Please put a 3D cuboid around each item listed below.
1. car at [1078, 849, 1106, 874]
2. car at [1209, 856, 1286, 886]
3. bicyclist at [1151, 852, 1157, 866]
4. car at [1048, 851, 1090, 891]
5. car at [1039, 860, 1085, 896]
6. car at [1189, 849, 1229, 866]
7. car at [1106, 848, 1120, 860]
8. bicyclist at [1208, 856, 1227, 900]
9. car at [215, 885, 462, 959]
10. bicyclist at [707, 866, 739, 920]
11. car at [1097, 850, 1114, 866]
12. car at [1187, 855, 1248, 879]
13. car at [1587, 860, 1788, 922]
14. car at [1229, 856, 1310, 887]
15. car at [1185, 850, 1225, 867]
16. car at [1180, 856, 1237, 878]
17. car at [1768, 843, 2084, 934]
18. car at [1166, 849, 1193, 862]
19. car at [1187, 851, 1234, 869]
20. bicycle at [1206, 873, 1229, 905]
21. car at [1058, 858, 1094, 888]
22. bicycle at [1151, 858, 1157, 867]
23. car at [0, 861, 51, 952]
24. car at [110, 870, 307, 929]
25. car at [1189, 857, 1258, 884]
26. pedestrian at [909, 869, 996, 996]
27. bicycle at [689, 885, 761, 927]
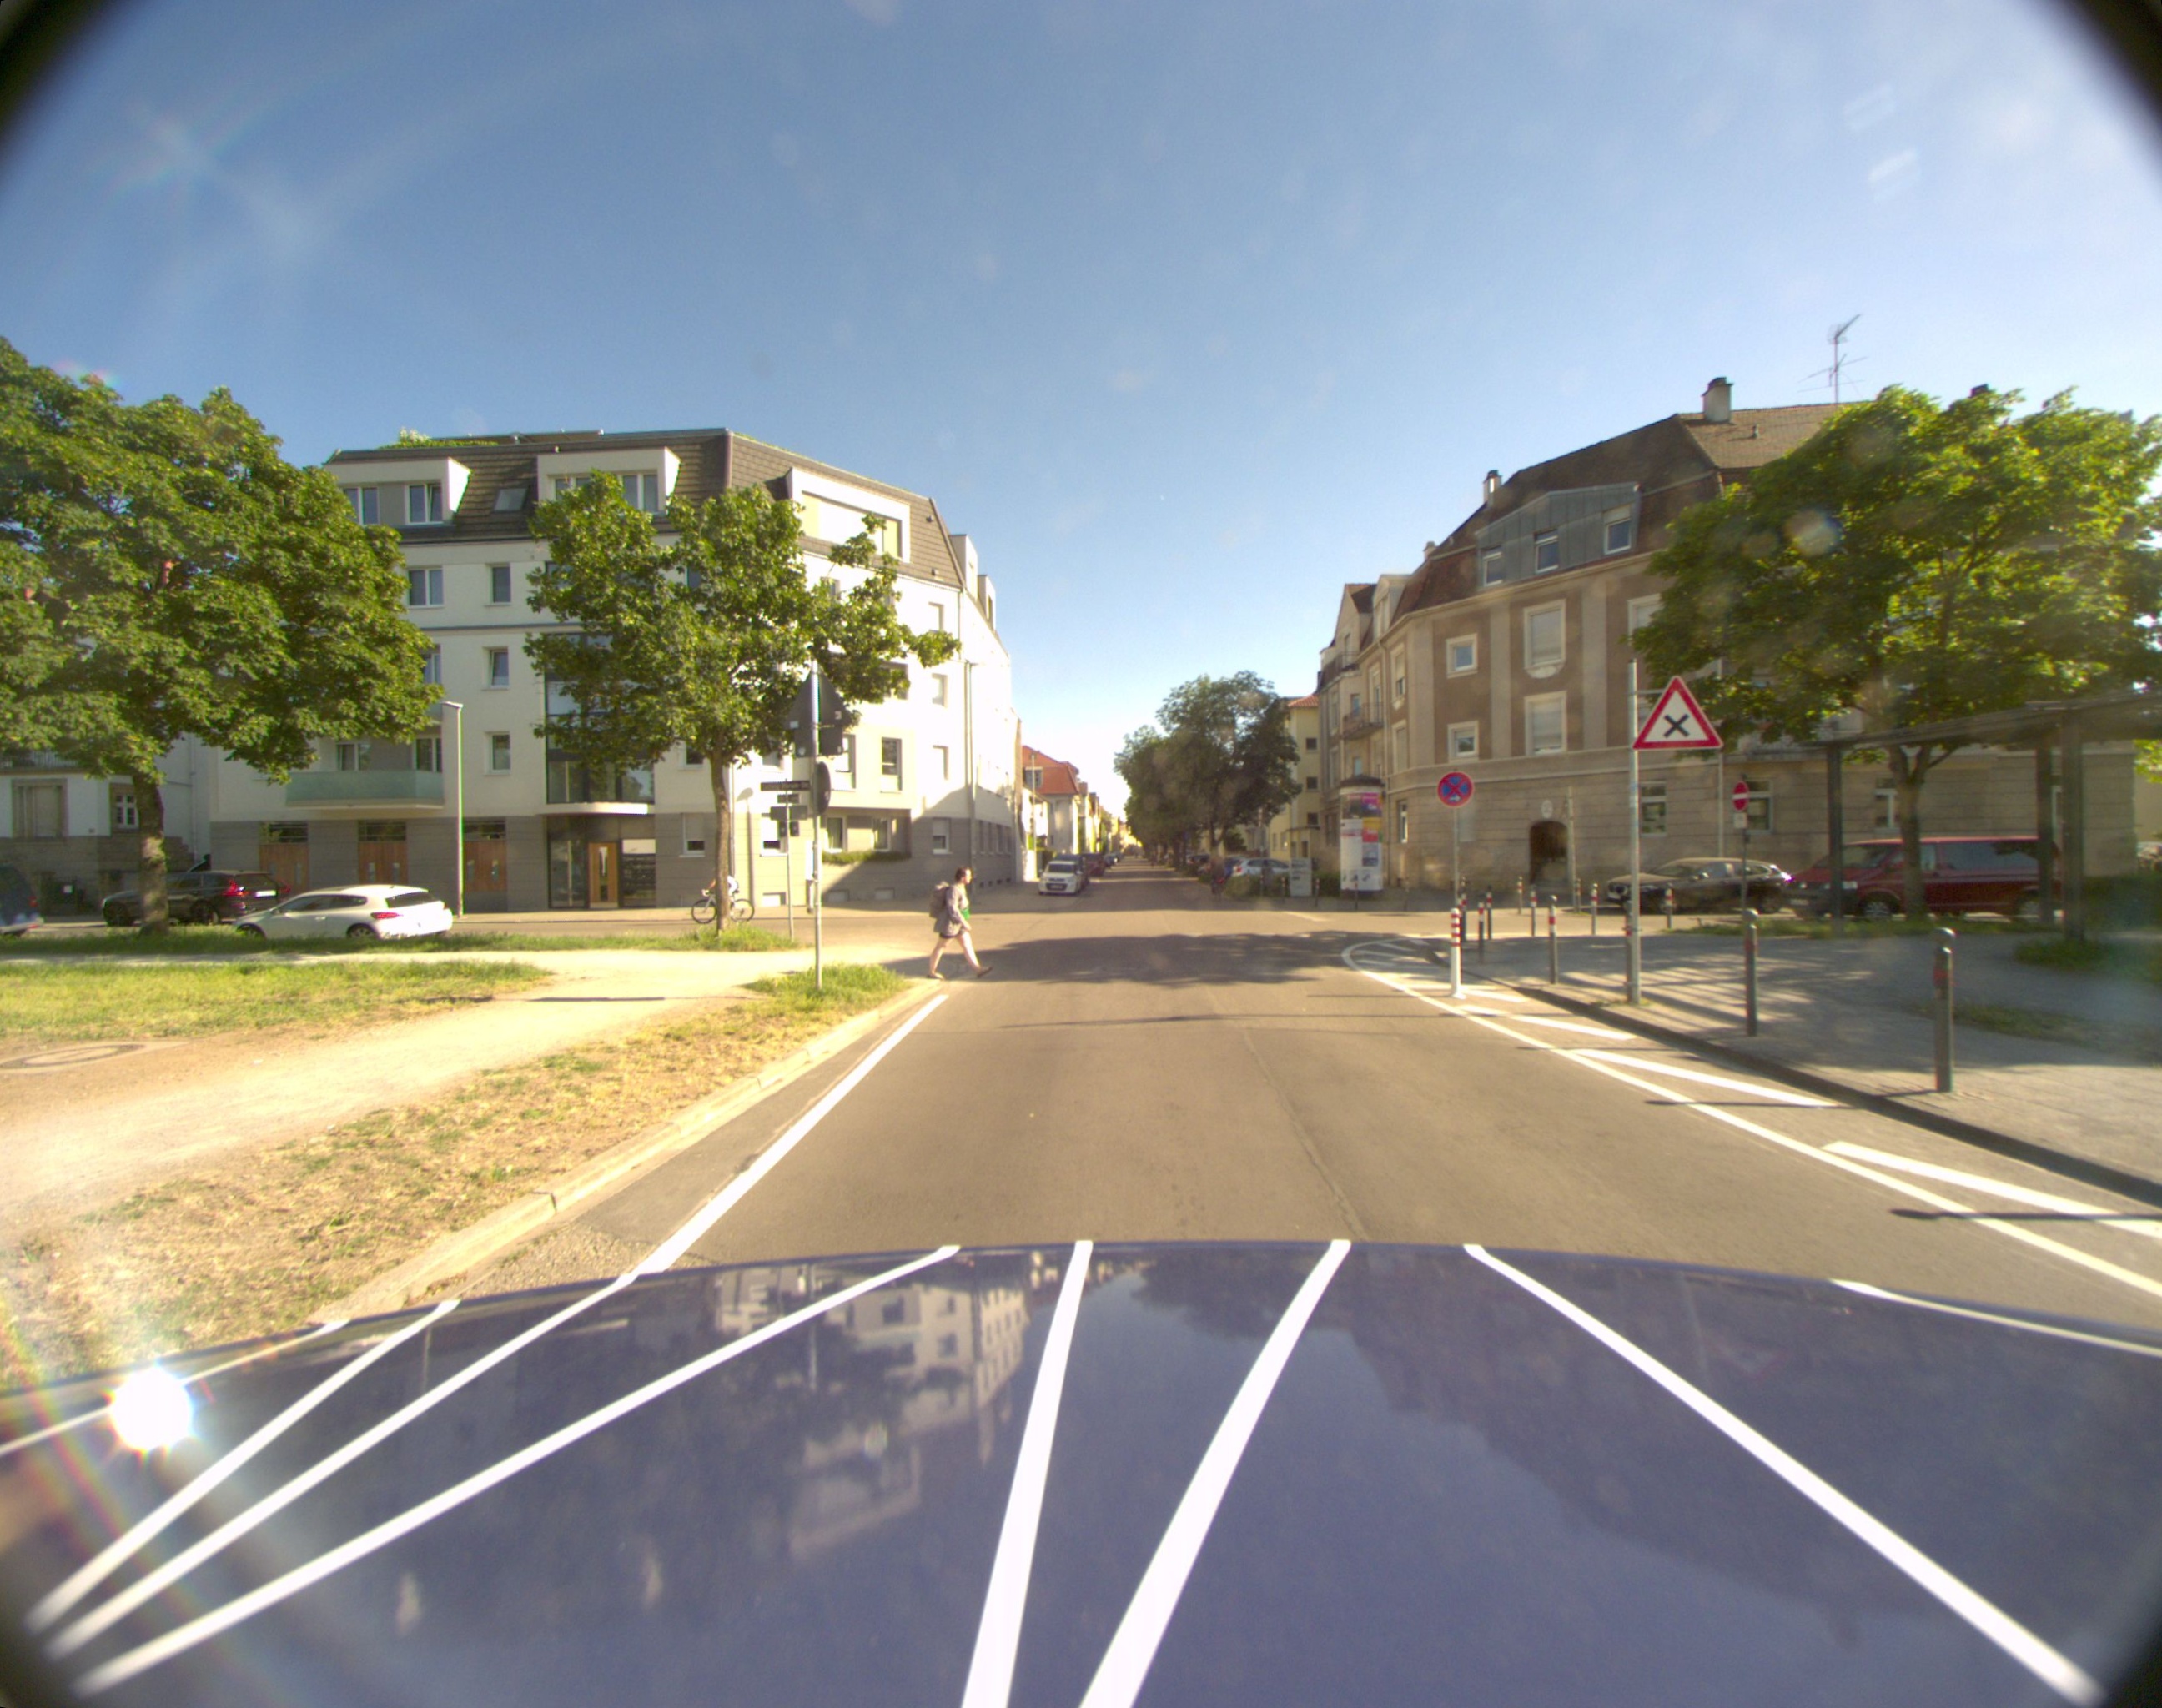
[{"bbox_3d":[0.919,0.584,60.049,1.883,1.860,4.403,2,0,4],"label":"car"},{"bbox_3d":[9.020,0.912,41.415,3.788,1.486,1.692,-2,0,1],"label":"car"},{"bbox_3d":[8.329,0.557,86.714,0.644,1.557,1.043,-1,1,5],"label":"bicyclist"},{"bbox_3d":[-0.545,0.796,38.298,1.664,1.825,4.258,2,0,4],"label":"car"},{"bbox_3d":[-0.787,1.020,33.840,1.664,1.440,3.689,2,0,4],"label":"car"},{"bbox_3d":[12.529,0.357,74.550,3.528,1.486,1.692,-2,0,-1],"label":"car"},{"bbox_3d":[4.895,0.058,115.958,1.883,1.734,4.403,-1,0,4],"label":"car"},{"bbox_3d":[5.079,0.872,28.334,0.644,1.610,0.637,-1,1,5],"label":"bicyclist"},{"bbox_3d":[-16.906,1.528,17.431,3.990,1.426,1.739,-1,4,4],"label":"car"},{"bbox_3d":[-9.920,1.060,21.064,0.687,1.455,0.497,-1,1,-10],"label":"bicyclist"},{"bbox_3d":[2.916,0.437,89.517,1.883,1.860,4.403,-1,0,4],"label":"car"},{"bbox_3d":[9.494,0.904,52.834,3.791,1.486,1.691,-2,0,-9],"label":"car"},{"bbox_3d":[16.701,0.992,21.078,4.011,1.476,1.867,-1,3,1],"label":"car"},{"bbox_3d":[9.677,0.867,39.183,3.788,1.436,1.692,-2,0,1],"label":"car"},{"bbox_3d":[11.697,0.443,71.761,3.528,1.486,1.692,-2,0,-1],"label":"car"},{"bbox_3d":[9.341,0.913,55.750,3.791,1.486,1.691,-2,0,-9],"label":"car"},{"bbox_3d":[19.268,0.751,17.539,4.881,1.950,1.897,0,2,4],"label":"car"},{"bbox_3d":[13.435,0.177,104.015,3.527,1.693,1.692,-2,0,2],"label":"car"},{"bbox_3d":[11.454,0.518,67.311,3.789,1.486,1.692,-2,0,-1],"label":"car"},{"bbox_3d":[5.093,1.276,28.437,0.644,1.102,2.066,-1,0,5],"label":"bicycle"},{"bbox_3d":[-0.237,1.052,43.699,1.664,1.533,4.067,2,0,4],"label":"car"},{"bbox_3d":[8.340,0.962,86.745,0.644,1.102,2.066,-1,0,5],"label":"bicycle"},{"bbox_3d":[-27.500,1.296,17.961,3.989,2.073,1.784,-1,4,5],"label":"car"},{"bbox_3d":[-27.529,1.415,24.063,4.284,1.673,1.897,-1,2,5],"label":"car"},{"bbox_3d":[8.715,0.997,46.672,3.791,1.486,1.691,-2,0,-9],"label":"car"},{"bbox_3d":[-1.868,1.083,10.937,1.090,1.664,0.912,-3,1,-13],"label":"pedestrian"},{"bbox_3d":[-9.853,1.430,21.080,1.709,1.082,0.506,-1,0,-10],"label":"bicycle"}]
